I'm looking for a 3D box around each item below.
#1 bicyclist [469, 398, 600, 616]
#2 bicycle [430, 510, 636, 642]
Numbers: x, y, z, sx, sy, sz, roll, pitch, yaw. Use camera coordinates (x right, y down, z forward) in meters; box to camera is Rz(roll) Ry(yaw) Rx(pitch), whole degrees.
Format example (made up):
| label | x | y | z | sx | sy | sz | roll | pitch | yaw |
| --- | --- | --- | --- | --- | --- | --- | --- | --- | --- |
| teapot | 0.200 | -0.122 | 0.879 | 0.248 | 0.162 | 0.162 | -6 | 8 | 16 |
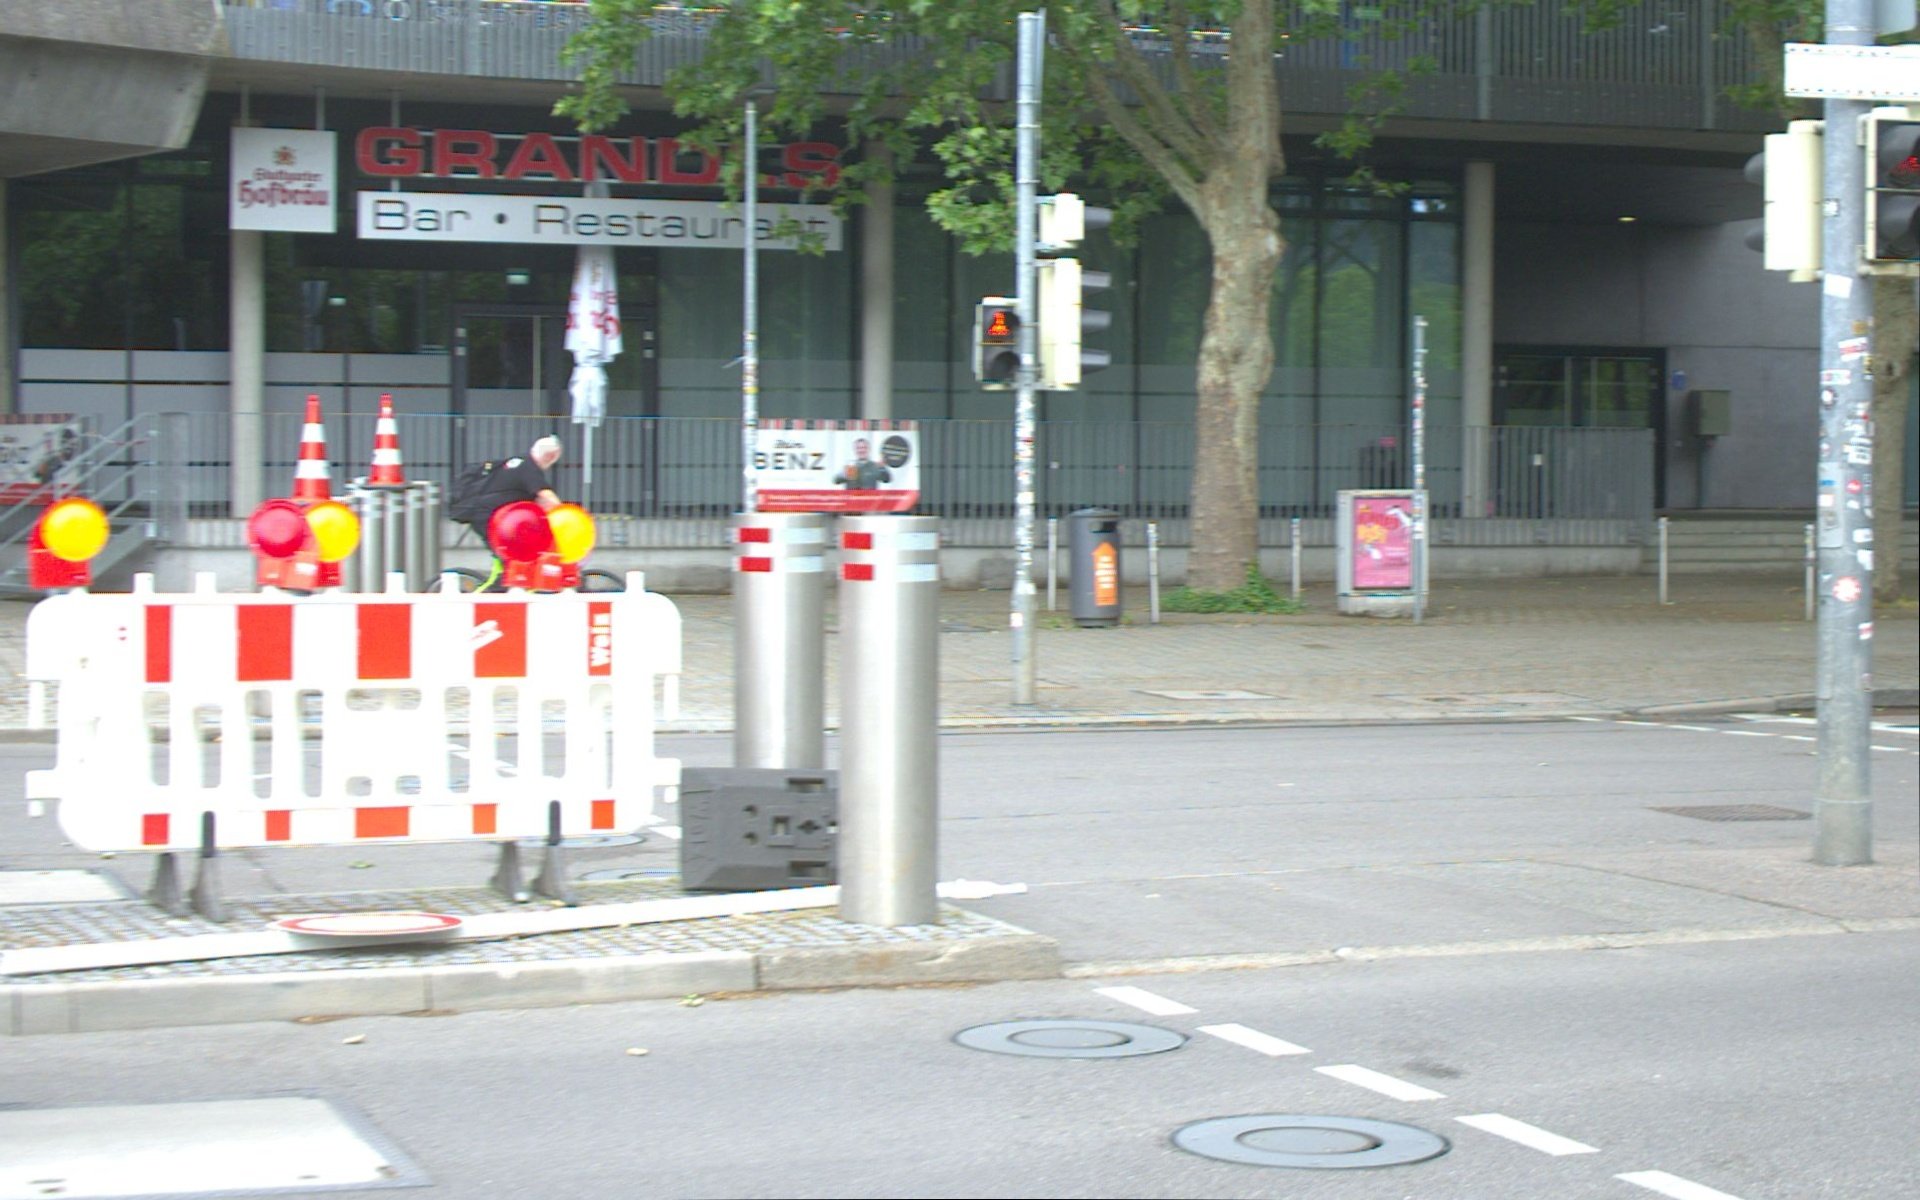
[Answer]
| label | x | y | z | sx | sy | sz | roll | pitch | yaw |
| --- | --- | --- | --- | --- | --- | --- | --- | --- | --- |
| bicyclist | -3.407 | -0.736 | 27.503 | 0.851 | 1.692 | 0.767 | 1 | 1 | -20 |
| bicycle | -3.416 | -0.188 | 27.505 | 1.532 | 1.009 | 0.517 | 1 | 1 | -20 |
